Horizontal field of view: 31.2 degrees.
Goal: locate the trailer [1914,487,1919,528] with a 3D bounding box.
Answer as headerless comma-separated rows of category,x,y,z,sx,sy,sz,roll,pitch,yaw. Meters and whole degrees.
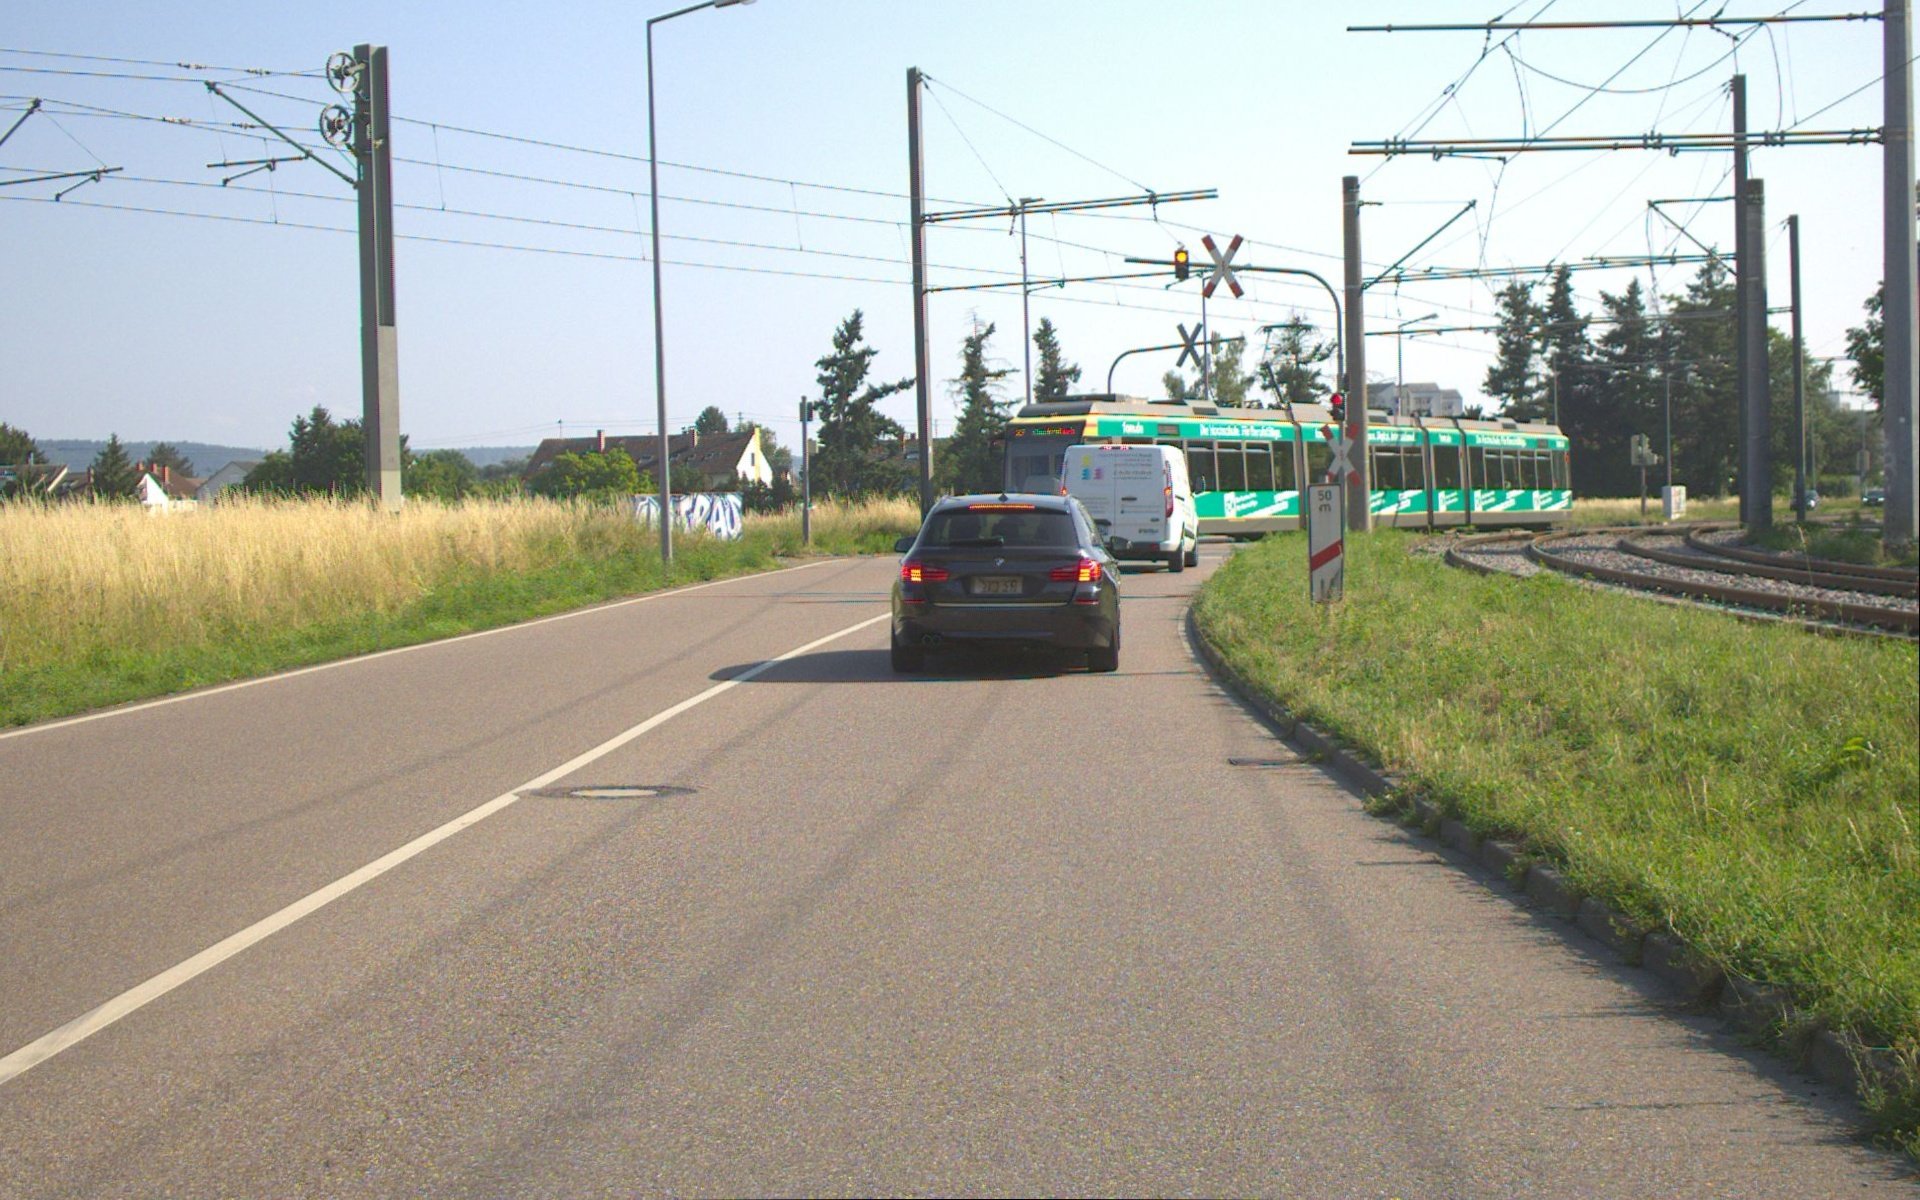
trailer,22.639,-2.066,77.884,1.732,0.936,3.726,2,2,12

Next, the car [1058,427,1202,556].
car,2.791,-1.751,55.362,1.858,1.981,5.107,0,2,8

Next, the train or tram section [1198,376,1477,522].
train or tram section,10.308,-3.920,92.158,2.922,3.442,12.146,1,1,29

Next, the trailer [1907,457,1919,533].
trailer,21.579,-2.243,73.971,2.027,1.591,4.258,2,2,12

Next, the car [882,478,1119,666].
car,0.387,-0.307,29.643,1.869,1.447,4.744,0,2,2

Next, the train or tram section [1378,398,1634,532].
train or tram section,16.689,-3.951,103.721,2.911,3.556,14.238,1,1,29

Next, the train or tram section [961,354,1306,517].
train or tram section,4.347,-3.766,81.572,2.955,3.472,12.145,1,1,30
